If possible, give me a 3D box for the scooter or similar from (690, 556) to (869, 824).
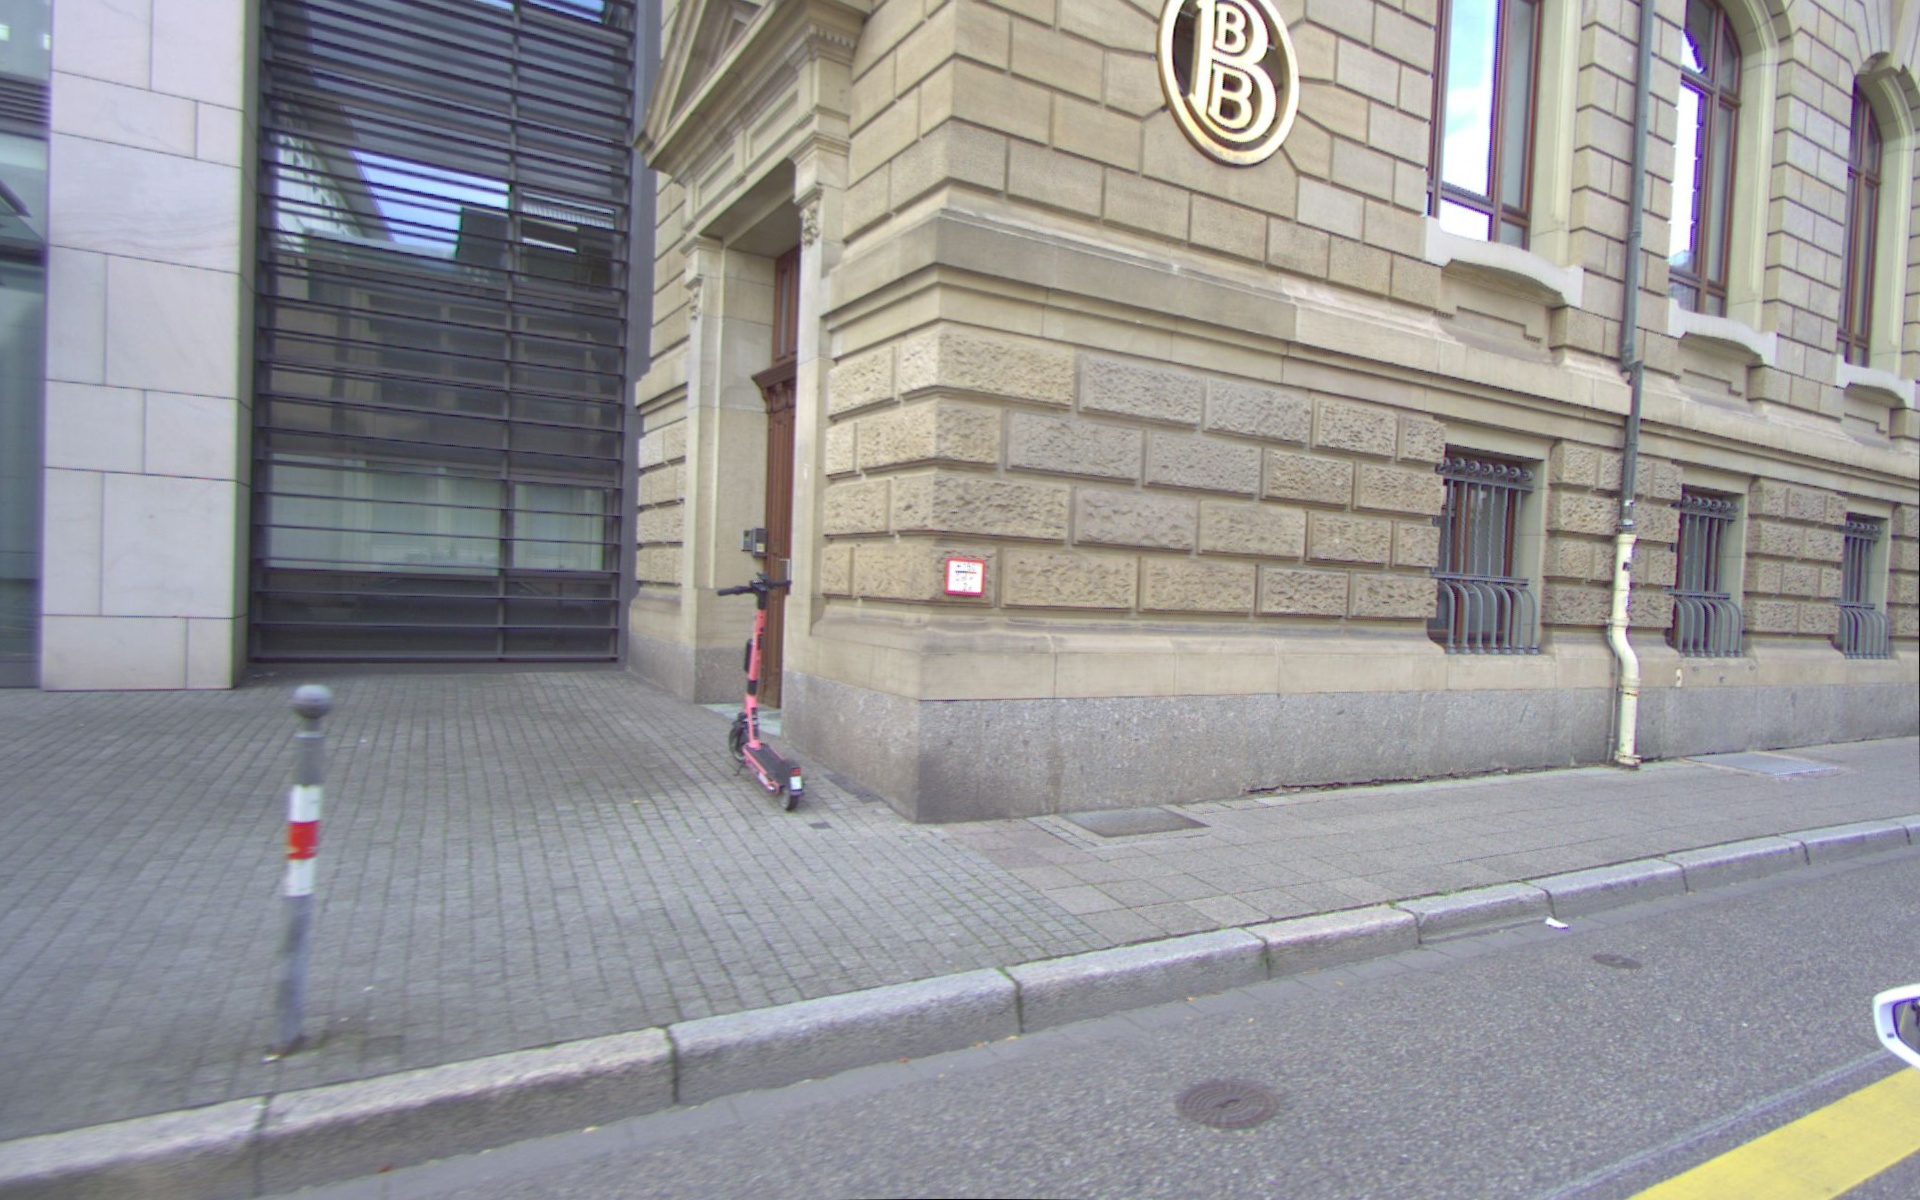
[{"bbox_3d":[-1.117,0.443,5.940,0.580,1.328,1.440,1,5,-29],"label":"scooter or similar"}]
